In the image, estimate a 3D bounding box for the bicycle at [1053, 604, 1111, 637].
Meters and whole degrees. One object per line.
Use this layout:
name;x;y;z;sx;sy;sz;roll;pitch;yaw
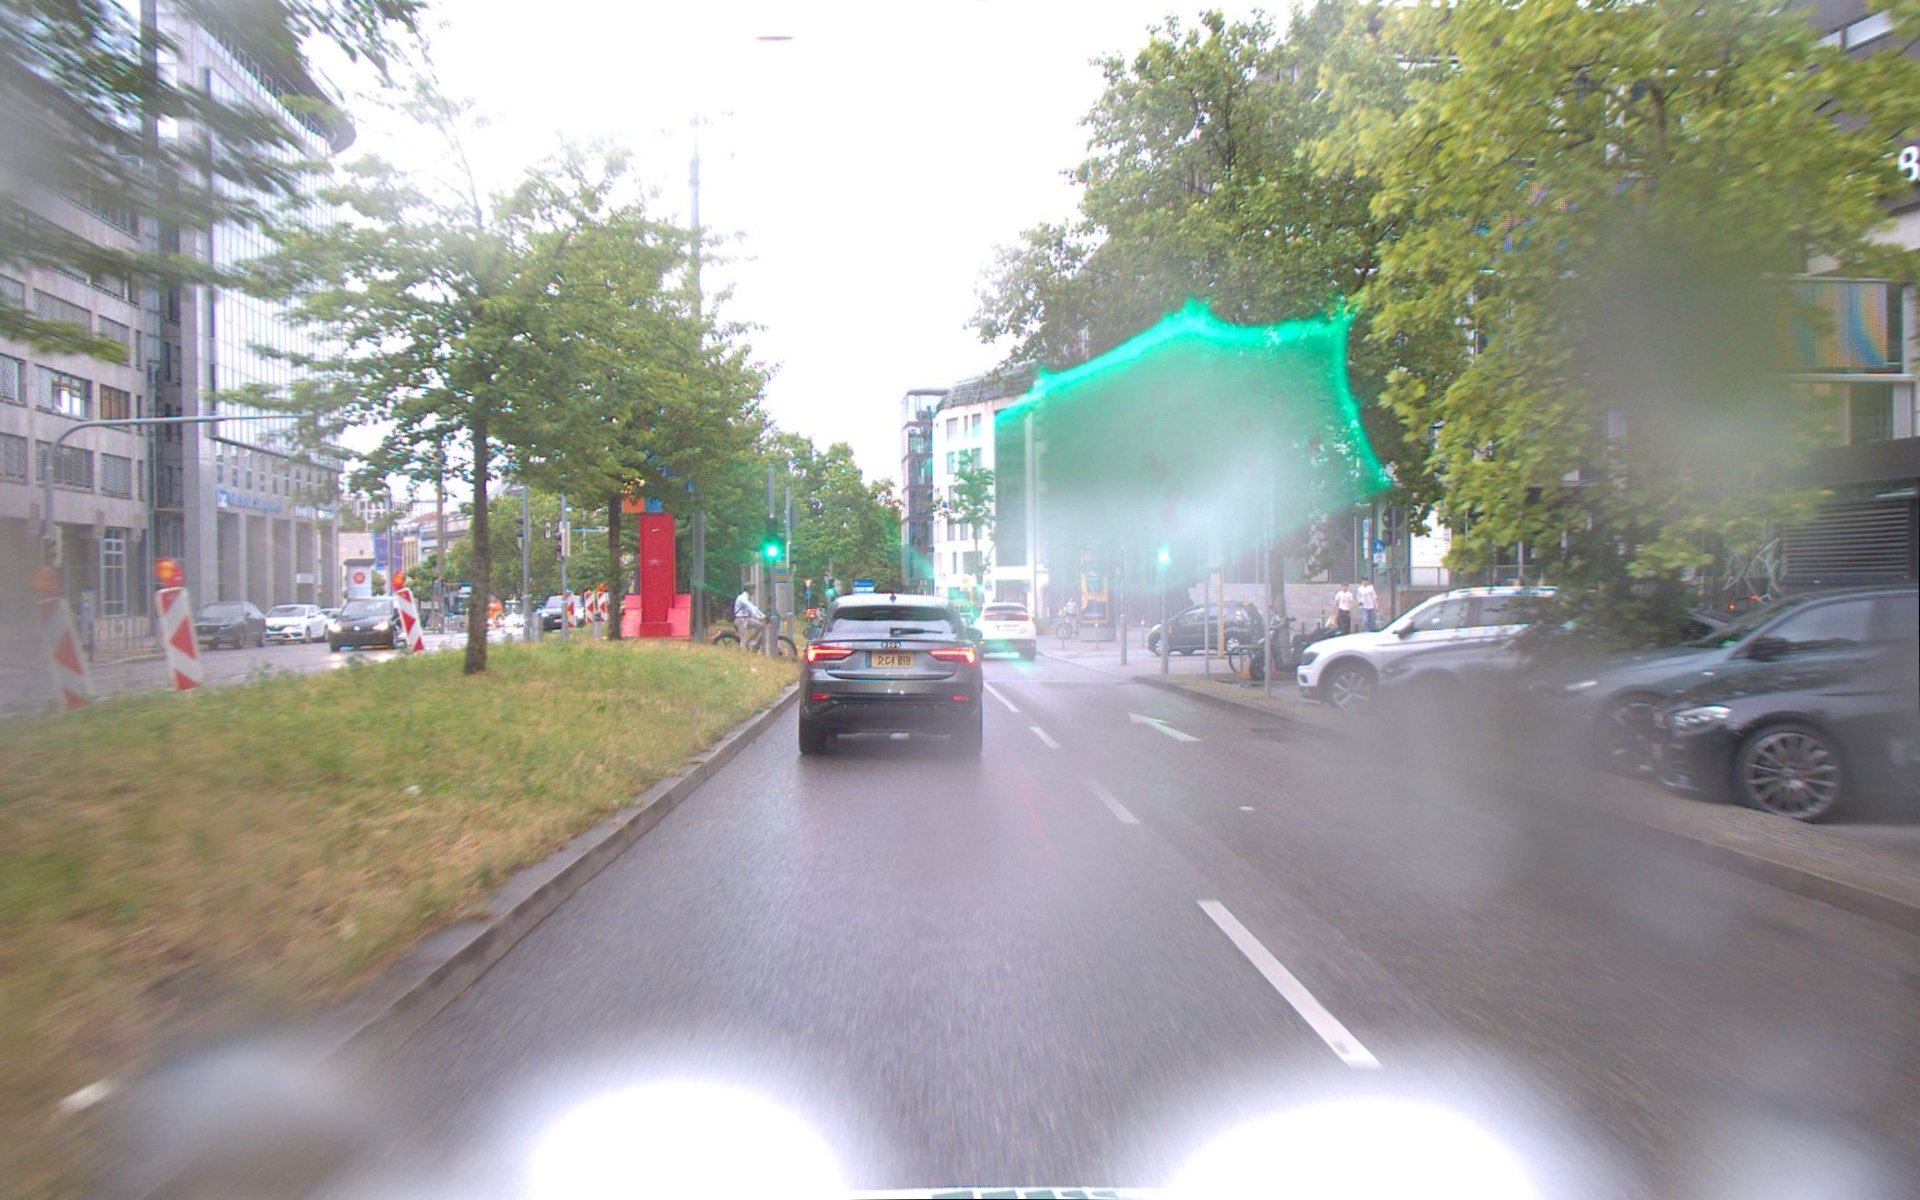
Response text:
bicycle;5.015;0.821;67.883;2.293;1.335;0.708;0;0;-8

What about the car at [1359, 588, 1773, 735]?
car;6.918;0.672;18.968;4.212;1.515;1.840;-1;0;29

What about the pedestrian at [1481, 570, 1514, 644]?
pedestrian;13.651;0.180;42.025;0.626;1.814;0.771;-4;-1;15

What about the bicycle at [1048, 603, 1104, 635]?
bicycle;4.887;0.806;69.774;2.293;1.335;0.708;0;0;-8

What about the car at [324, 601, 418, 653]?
car;-16.807;0.740;47.381;1.772;1.333;3.992;-2;1;-9

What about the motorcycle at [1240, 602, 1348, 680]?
motorcycle;6.387;0.776;31.689;1.985;1.440;0.726;1;-1;8

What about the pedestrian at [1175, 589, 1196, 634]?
pedestrian;10.738;0.548;78.813;0.916;2.152;1.076;0;-1;11

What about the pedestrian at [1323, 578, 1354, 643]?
pedestrian;11.424;0.312;49.930;0.848;1.937;0.886;0;-1;11

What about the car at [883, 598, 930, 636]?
car;-2.229;0.681;69.468;1.811;1.550;4.038;0;0;0

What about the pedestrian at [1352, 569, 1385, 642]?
pedestrian;12.305;0.170;49.849;0.916;2.152;1.076;0;-1;11

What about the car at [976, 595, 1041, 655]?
car;1.404;0.714;49.300;1.811;1.698;4.038;0;0;0

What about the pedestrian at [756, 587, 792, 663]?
pedestrian;-4.496;0.603;39.969;0.647;1.825;0.751;0;-1;12

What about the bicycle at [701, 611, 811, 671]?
bicycle;-4.348;0.872;35.359;2.209;1.182;0.750;3;-1;-1

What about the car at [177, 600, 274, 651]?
car;-24.038;0.836;54.266;1.840;1.563;4.069;-1;0;-8

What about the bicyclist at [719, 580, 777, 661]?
bicyclist;-4.532;0.434;35.365;1.082;1.650;0.750;3;-1;-1

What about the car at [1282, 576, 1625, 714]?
car;6.595;0.586;22.155;4.135;1.698;1.837;-1;0;27

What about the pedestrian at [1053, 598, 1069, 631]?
pedestrian;6.320;0.892;103.093;0.838;2.049;0.975;1;-1;-6

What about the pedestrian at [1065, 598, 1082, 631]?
pedestrian;6.985;0.885;101.947;0.838;2.049;0.975;1;-1;-6

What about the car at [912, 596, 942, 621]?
car;-2.101;0.523;105.089;1.811;1.550;4.038;0;0;0

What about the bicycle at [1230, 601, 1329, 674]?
bicycle;6.515;0.758;33.840;1.940;1.440;0.726;1;-1;8

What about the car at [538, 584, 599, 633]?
car;-16.113;0.327;68.213;1.956;1.858;3.994;-2;1;-7

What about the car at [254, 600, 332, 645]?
car;-24.895;0.827;61.845;1.775;1.575;3.992;-1;0;-8

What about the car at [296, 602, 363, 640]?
car;-25.657;0.858;67.421;1.693;1.477;3.587;-2;-1;-7

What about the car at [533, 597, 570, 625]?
car;-25.218;0.663;102.238;1.699;1.585;3.994;-2;1;-7

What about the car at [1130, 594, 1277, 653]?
car;6.789;0.648;46.330;3.794;1.595;1.658;0;-1;42

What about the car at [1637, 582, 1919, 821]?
car;7.070;0.640;11.293;4.462;1.533;1.868;-1;0;24

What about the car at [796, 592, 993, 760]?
car;-0.631;0.698;17.372;1.812;1.550;4.038;0;0;-1

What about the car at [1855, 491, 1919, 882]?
car;7.381;0.388;8.396;4.839;2.013;1.928;-1;0;26

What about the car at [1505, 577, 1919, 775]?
car;7.208;0.612;14.168;4.673;1.560;1.871;-1;0;14
